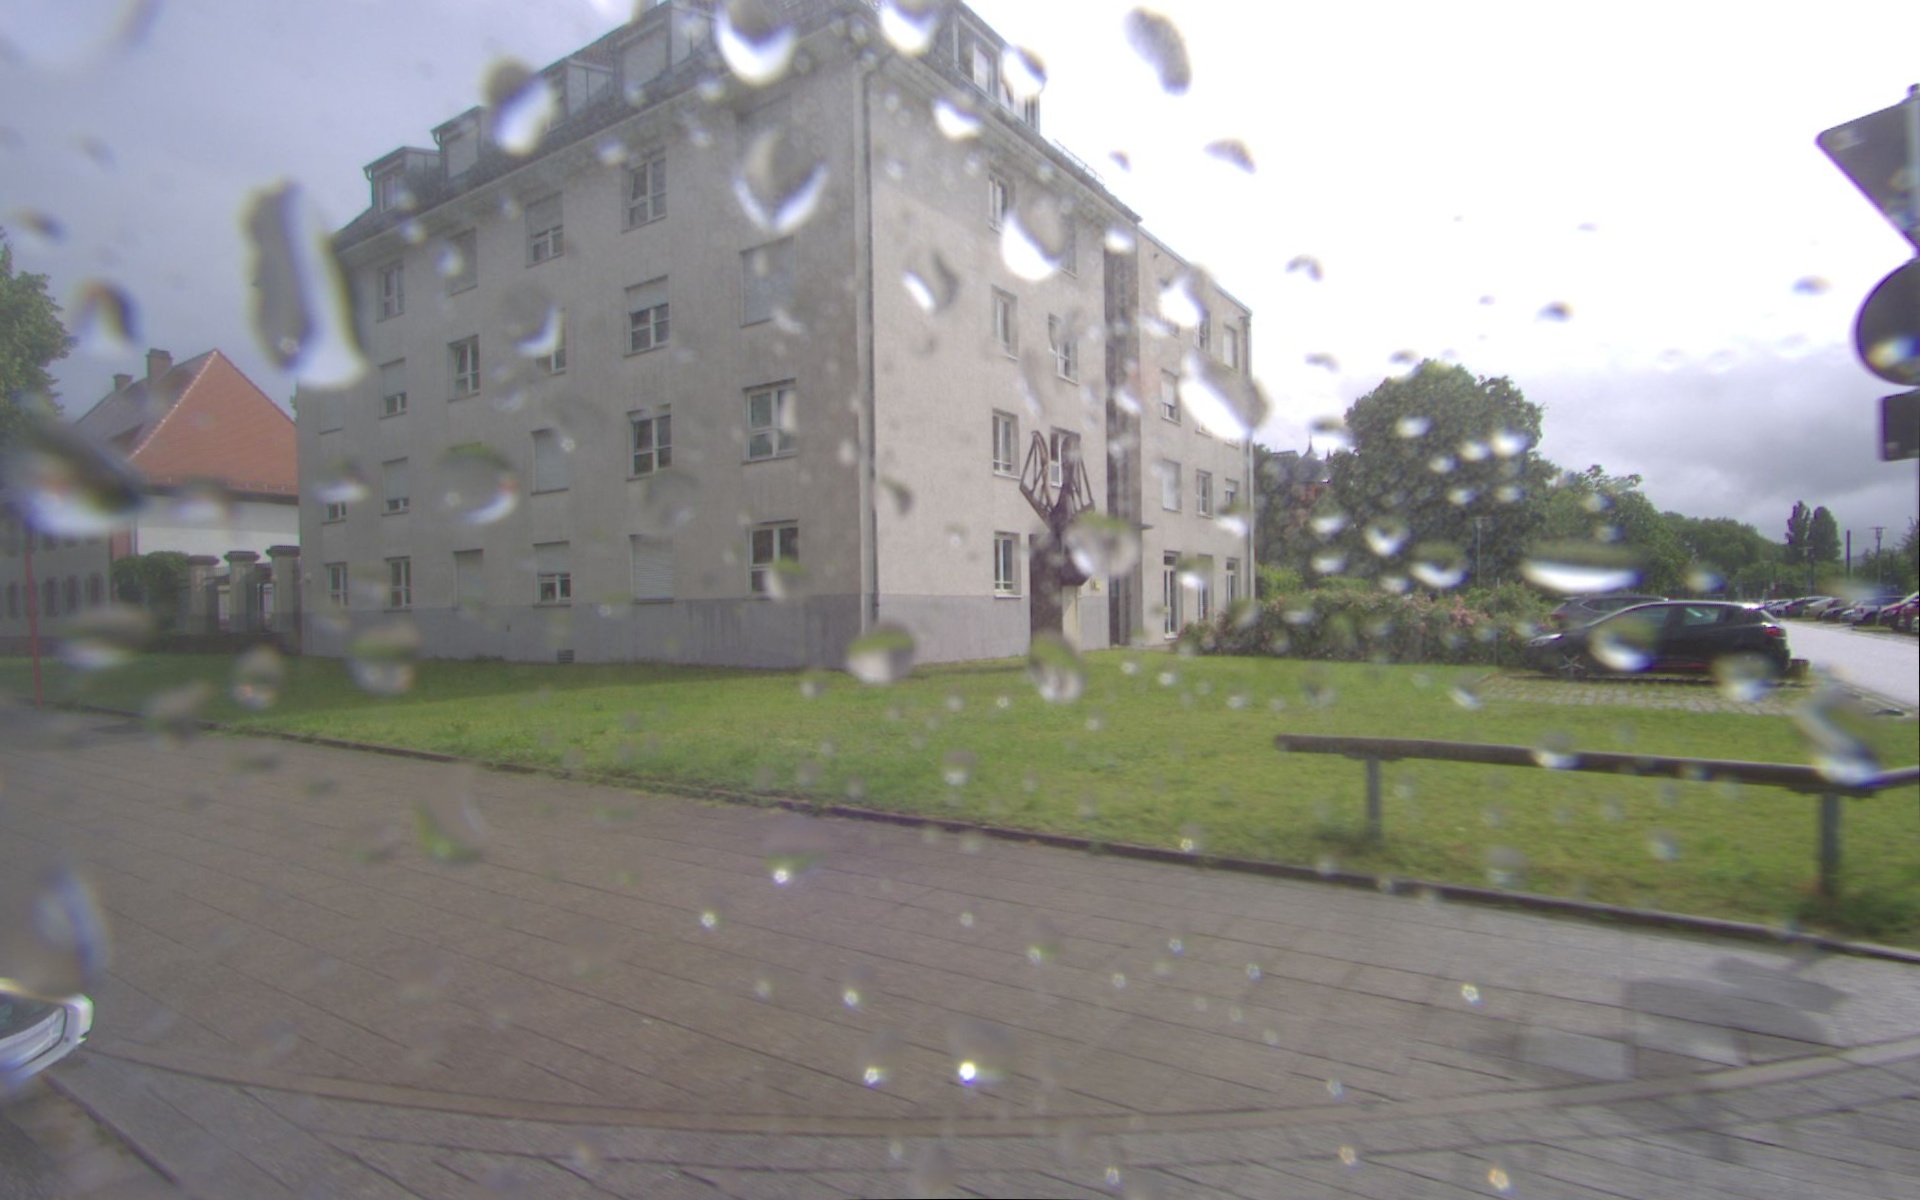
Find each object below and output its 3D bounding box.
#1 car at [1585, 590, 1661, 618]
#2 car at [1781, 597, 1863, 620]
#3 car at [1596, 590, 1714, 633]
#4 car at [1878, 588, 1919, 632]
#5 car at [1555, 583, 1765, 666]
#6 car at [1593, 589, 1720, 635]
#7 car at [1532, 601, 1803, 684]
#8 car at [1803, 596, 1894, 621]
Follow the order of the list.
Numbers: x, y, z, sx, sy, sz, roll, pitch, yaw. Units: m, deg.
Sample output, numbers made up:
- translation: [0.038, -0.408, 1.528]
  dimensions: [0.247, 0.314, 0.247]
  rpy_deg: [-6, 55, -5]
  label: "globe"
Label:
- translation: [46.062, 0.286, 69.679]
  dimensions: [4.330, 1.874, 1.925]
  rpy_deg: [-1, 0, 33]
  label: "car"
- translation: [60.350, 0.587, 70.223]
  dimensions: [4.137, 1.569, 1.925]
  rpy_deg: [-1, 0, 33]
  label: "car"
- translation: [31.525, 0.537, 45.574]
  dimensions: [4.330, 1.874, 1.925]
  rpy_deg: [-1, 0, 33]
  label: "car"
- translation: [43.646, 0.434, 44.287]
  dimensions: [4.213, 1.954, 1.925]
  rpy_deg: [-1, 0, 33]
  label: "car"
- translation: [16.967, 0.576, 24.515]
  dimensions: [4.075, 1.874, 1.925]
  rpy_deg: [-1, 0, 33]
  label: "car"
- translation: [29.322, 0.513, 42.324]
  dimensions: [4.330, 1.874, 1.925]
  rpy_deg: [-1, 0, 33]
  label: "car"
- translation: [12.469, 0.713, 17.901]
  dimensions: [3.821, 1.343, 1.384]
  rpy_deg: [-1, 0, 33]
  label: "car"
- translation: [57.492, 0.532, 64.898]
  dimensions: [4.137, 1.569, 1.925]
  rpy_deg: [-1, 0, 33]
  label: "car"
